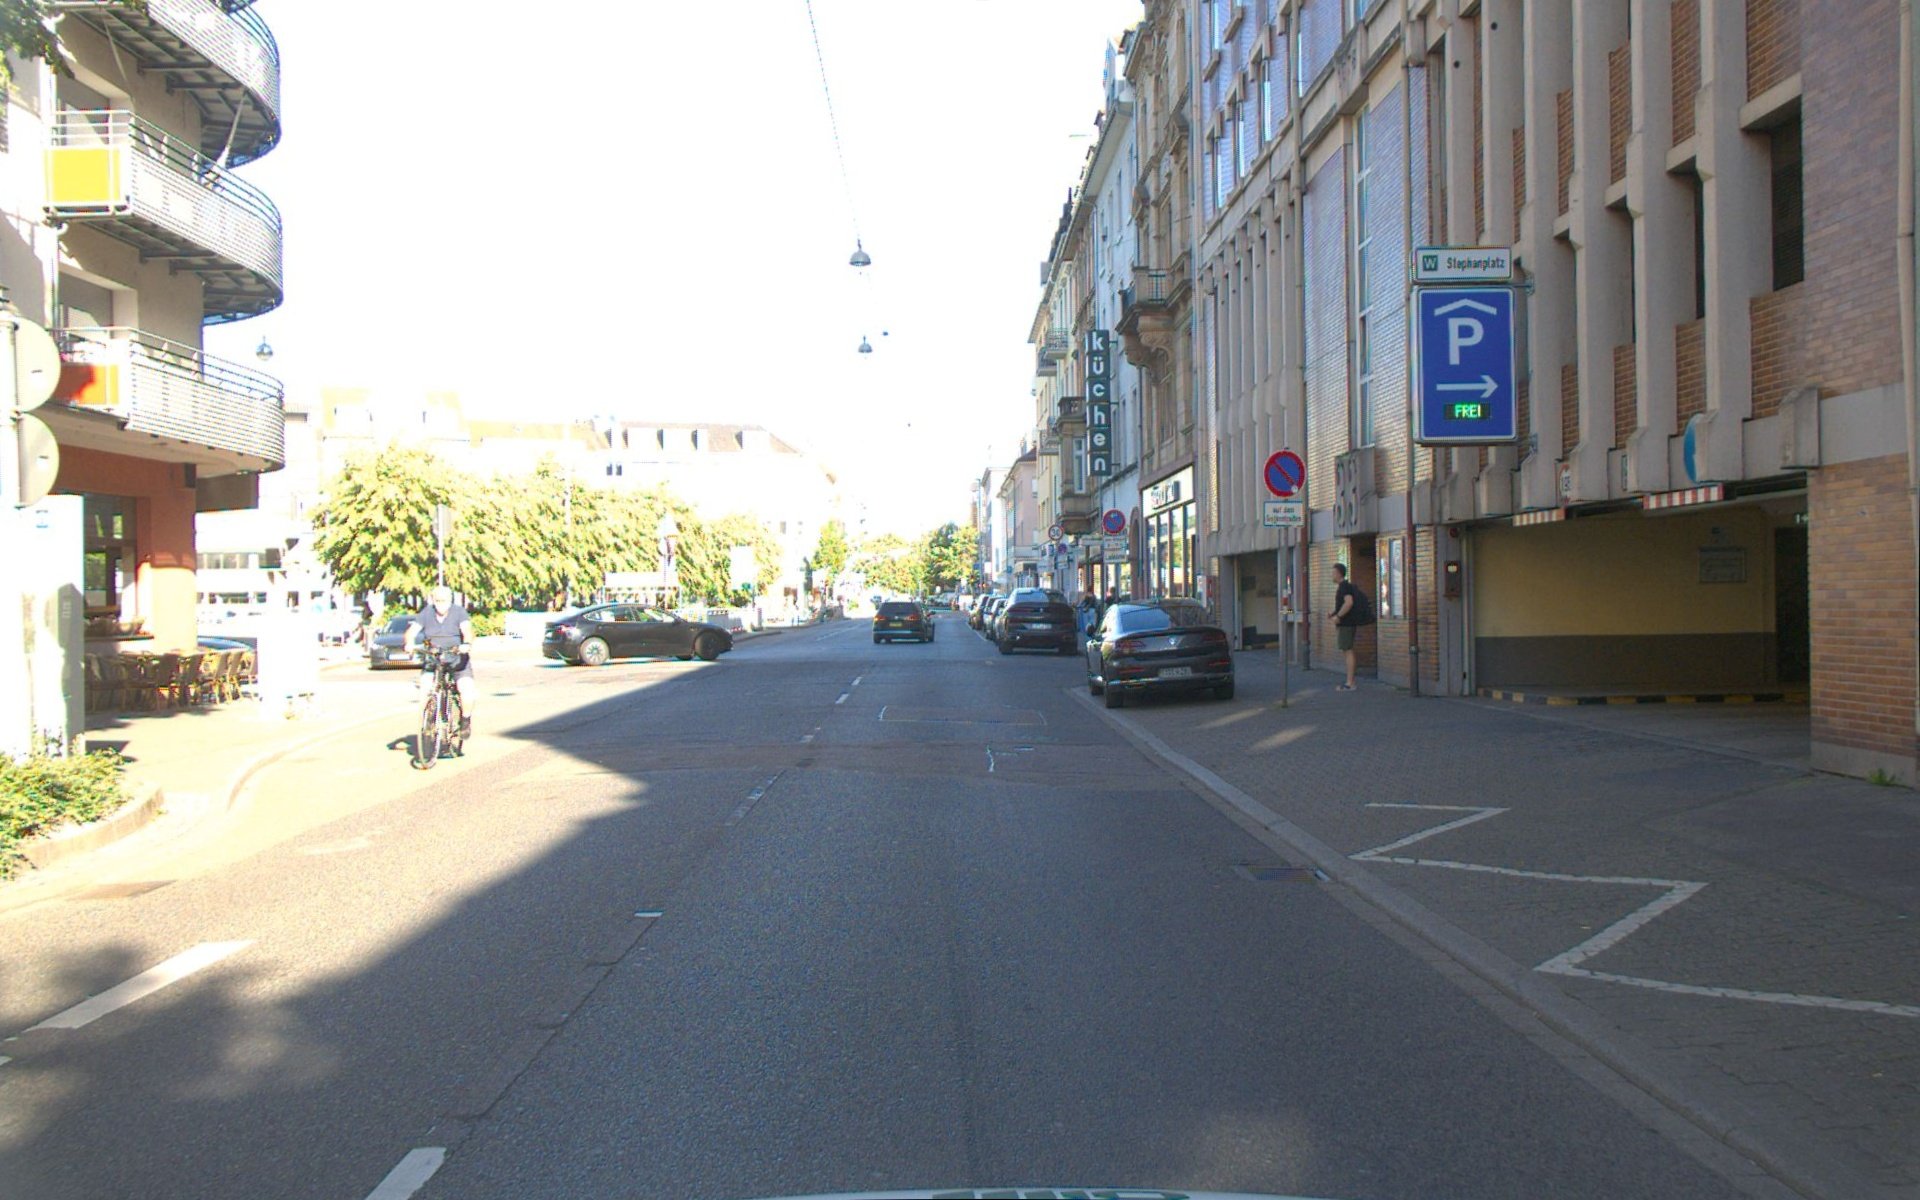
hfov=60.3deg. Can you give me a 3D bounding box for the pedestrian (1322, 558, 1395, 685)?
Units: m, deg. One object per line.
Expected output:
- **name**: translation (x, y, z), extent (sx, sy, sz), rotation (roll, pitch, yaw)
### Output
- **pedestrian**: translation (5.461, 0.283, 22.709), extent (0.678, 1.664, 0.889), rotation (-3, 0, -2)

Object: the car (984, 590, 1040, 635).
- **car**: translation (1.881, 0.443, 60.980), extent (1.802, 1.573, 4.227), rotation (0, 1, -2)

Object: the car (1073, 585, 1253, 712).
- **car**: translation (2.855, 0.617, 24.326), extent (1.879, 1.504, 4.964), rotation (-5, 1, -1)

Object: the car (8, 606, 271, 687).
- **car**: translation (-18.030, 0.985, 36.553), extent (5.041, 1.447, 1.982), rotation (-3, 0, -27)

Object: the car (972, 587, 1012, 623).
- **car**: translation (1.516, 0.254, 79.746), extent (1.682, 1.664, 4.082), rotation (0, -1, -3)

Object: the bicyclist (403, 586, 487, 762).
- **bicyclist**: translation (-5.138, 0.715, 16.554), extent (0.685, 1.682, 1.032), rotation (-2, 0, -13)

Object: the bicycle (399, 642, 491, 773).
- **bicycle**: translation (-5.154, 1.041, 16.645), extent (0.693, 1.166, 1.961), rotation (-2, 0, -13)

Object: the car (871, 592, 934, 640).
- **car**: translation (-1.915, 0.508, 55.942), extent (1.895, 1.513, 4.272), rotation (-1, 0, 1)

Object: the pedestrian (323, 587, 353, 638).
- **pedestrian**: translation (-26.625, 0.517, 70.813), extent (0.717, 2.145, 0.967), rotation (-1, 0, 21)

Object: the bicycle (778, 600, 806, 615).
- **bicycle**: translation (-12.170, 0.535, 119.499), extent (1.972, 1.040, 0.761), rotation (-1, 0, -5)

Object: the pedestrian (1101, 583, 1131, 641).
- **pedestrian**: translation (4.709, 0.356, 49.894), extent (0.784, 1.704, 0.589), rotation (-3, 0, 2)

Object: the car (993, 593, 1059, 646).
- **car**: translation (1.980, 0.559, 50.602), extent (1.801, 1.513, 4.184), rotation (0, 1, -1)

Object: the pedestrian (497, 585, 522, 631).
- **pedestrian**: translation (-21.467, 0.376, 78.789), extent (0.717, 2.145, 0.967), rotation (-1, 0, 21)

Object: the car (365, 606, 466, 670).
- **car**: translation (-14.789, 0.992, 45.145), extent (1.715, 1.447, 4.532), rotation (-1, 2, -7)

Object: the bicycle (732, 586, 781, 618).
- **bicycle**: translation (-13.325, 0.149, 108.246), extent (3.054, 2.049, 0.909), rotation (-1, 0, 8)

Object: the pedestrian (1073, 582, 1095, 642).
- **pedestrian**: translation (3.745, 0.356, 49.948), extent (0.607, 1.797, 0.518), rotation (-1, 0, 2)

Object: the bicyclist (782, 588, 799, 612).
- **bicyclist**: translation (-12.232, -0.025, 119.501), extent (1.123, 1.715, 0.819), rotation (-1, 0, -4)

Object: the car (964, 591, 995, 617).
- **car**: translation (1.138, 0.253, 97.087), extent (1.756, 1.485, 3.867), rotation (0, -1, -1)

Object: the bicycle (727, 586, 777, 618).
- **bicycle**: translation (-13.478, 0.120, 107.198), extent (3.054, 2.049, 0.909), rotation (-1, 0, 8)

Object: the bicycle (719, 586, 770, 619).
- **bicycle**: translation (-13.704, 0.155, 105.246), extent (3.054, 2.049, 0.909), rotation (-1, 0, 8)

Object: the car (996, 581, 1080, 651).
- **car**: translation (1.995, 0.377, 43.729), extent (1.933, 1.755, 4.823), rotation (0, 1, -1)

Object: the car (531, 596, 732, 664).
- **car**: translation (-7.932, 0.683, 39.988), extent (4.428, 1.506, 1.984), rotation (-1, 0, -27)

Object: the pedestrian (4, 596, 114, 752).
- **pedestrian**: translation (-10.109, 0.806, 18.595), extent (0.651, 1.688, 1.036), rotation (-1, 0, -2)

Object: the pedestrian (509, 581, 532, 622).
- **pedestrian**: translation (-23.189, 0.091, 87.329), extent (0.717, 2.145, 0.967), rotation (-1, 0, 21)

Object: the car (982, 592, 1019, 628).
- **car**: translation (1.802, 0.423, 74.029), extent (1.580, 1.573, 2.855), rotation (0, 1, 0)

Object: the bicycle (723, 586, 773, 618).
- **bicycle**: translation (-13.603, 0.138, 106.204), extent (3.054, 2.049, 0.909), rotation (-1, 0, 8)
